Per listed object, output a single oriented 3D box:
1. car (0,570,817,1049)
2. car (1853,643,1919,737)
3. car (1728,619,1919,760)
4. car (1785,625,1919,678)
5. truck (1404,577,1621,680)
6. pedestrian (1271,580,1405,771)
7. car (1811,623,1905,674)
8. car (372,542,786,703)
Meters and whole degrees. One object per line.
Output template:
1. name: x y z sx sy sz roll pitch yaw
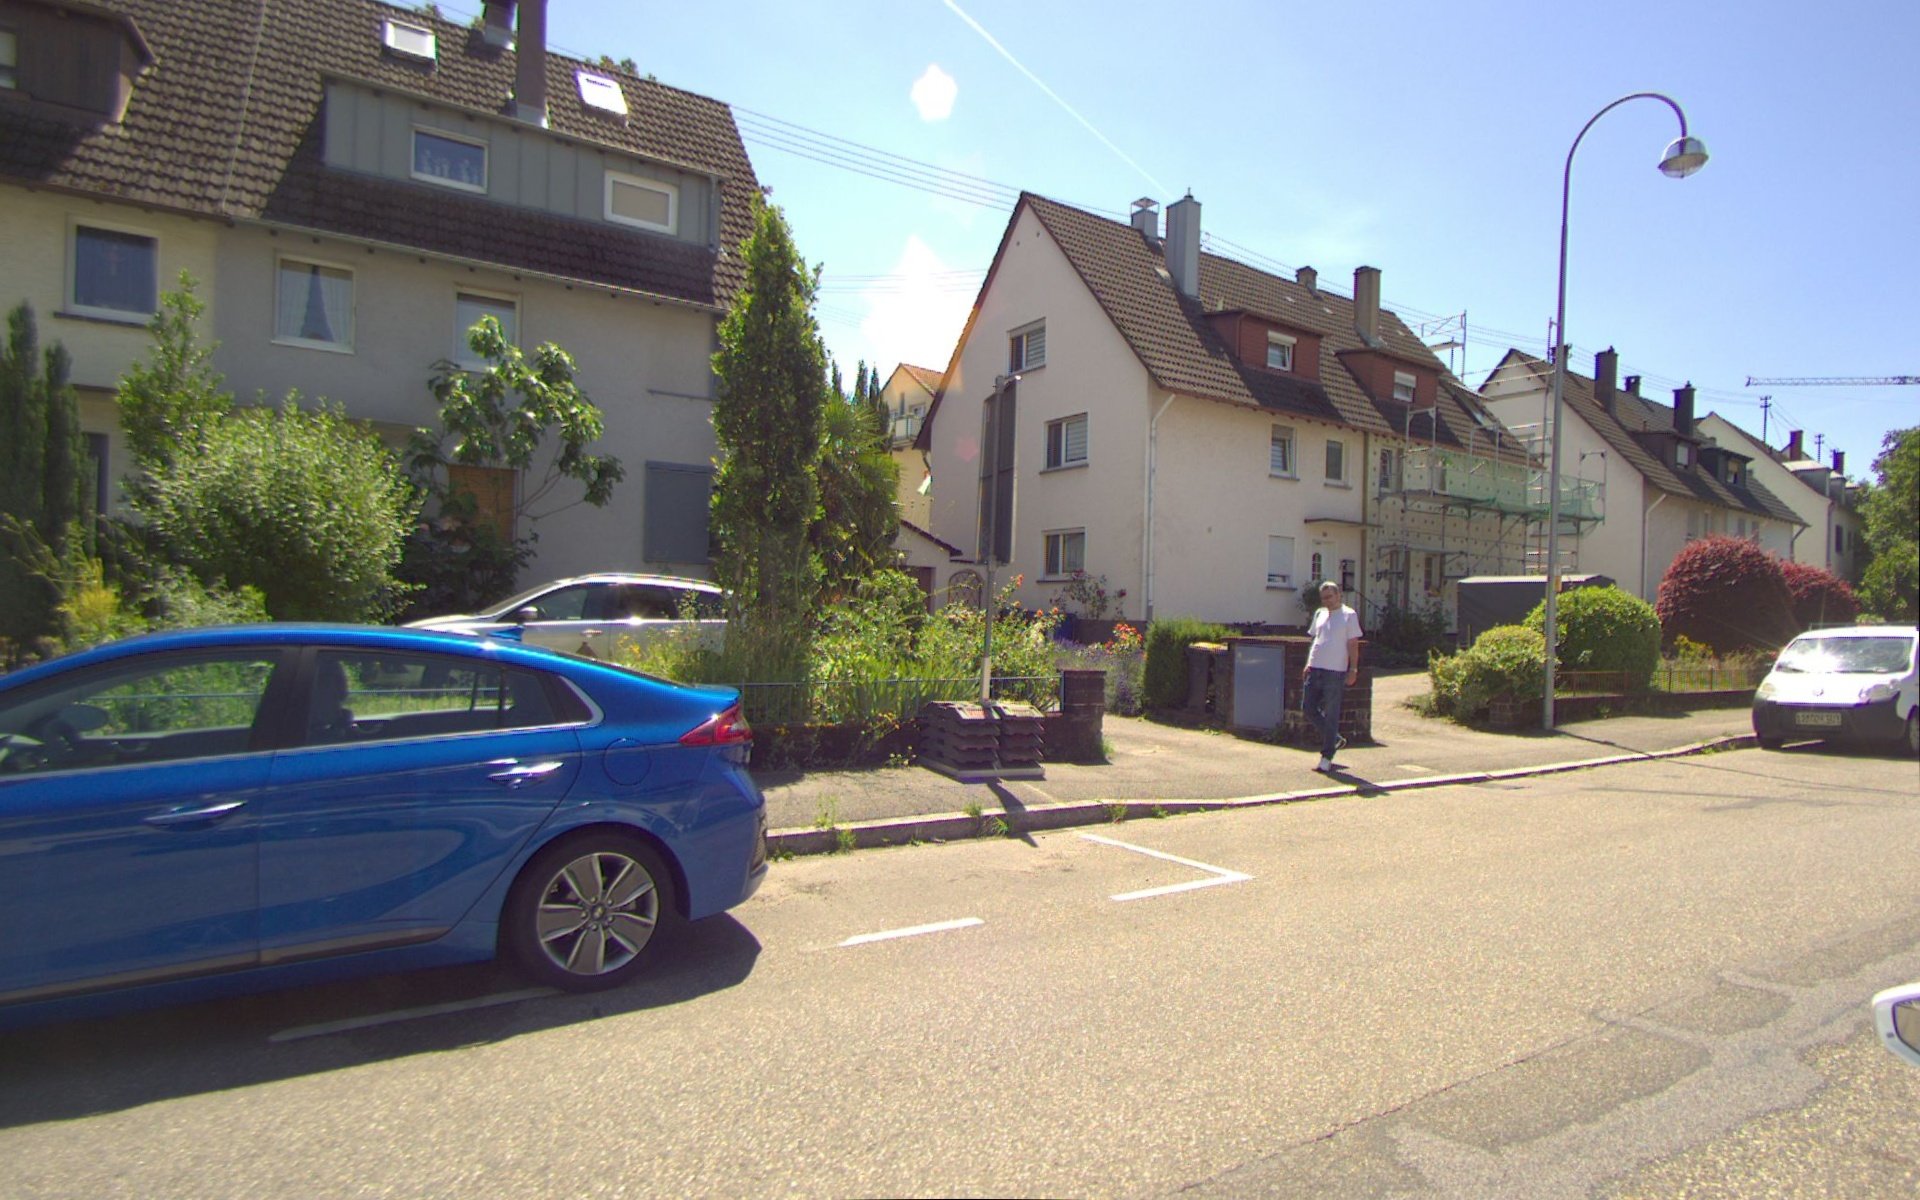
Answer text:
1. car: -2.937 0.688 4.101 4.312 1.457 1.761 3 -3 -31
2. car: 17.035 1.495 17.049 4.014 1.497 1.751 2 -3 -32
3. car: 12.852 1.216 14.400 3.845 1.759 1.713 2 -3 -33
4. car: 29.295 1.648 32.622 4.039 1.532 1.644 0 3 -11
5. truck: 11.550 0.584 21.221 1.530 1.963 3.746 2 -1 -33
6. pedestrian: 4.034 0.796 10.749 1.006 1.915 0.687 3 4 -27
7. car: 37.211 2.015 41.613 3.953 1.895 1.706 3 0 -30
8. car: -4.484 0.310 12.045 4.313 1.527 1.760 5 -1 -31
